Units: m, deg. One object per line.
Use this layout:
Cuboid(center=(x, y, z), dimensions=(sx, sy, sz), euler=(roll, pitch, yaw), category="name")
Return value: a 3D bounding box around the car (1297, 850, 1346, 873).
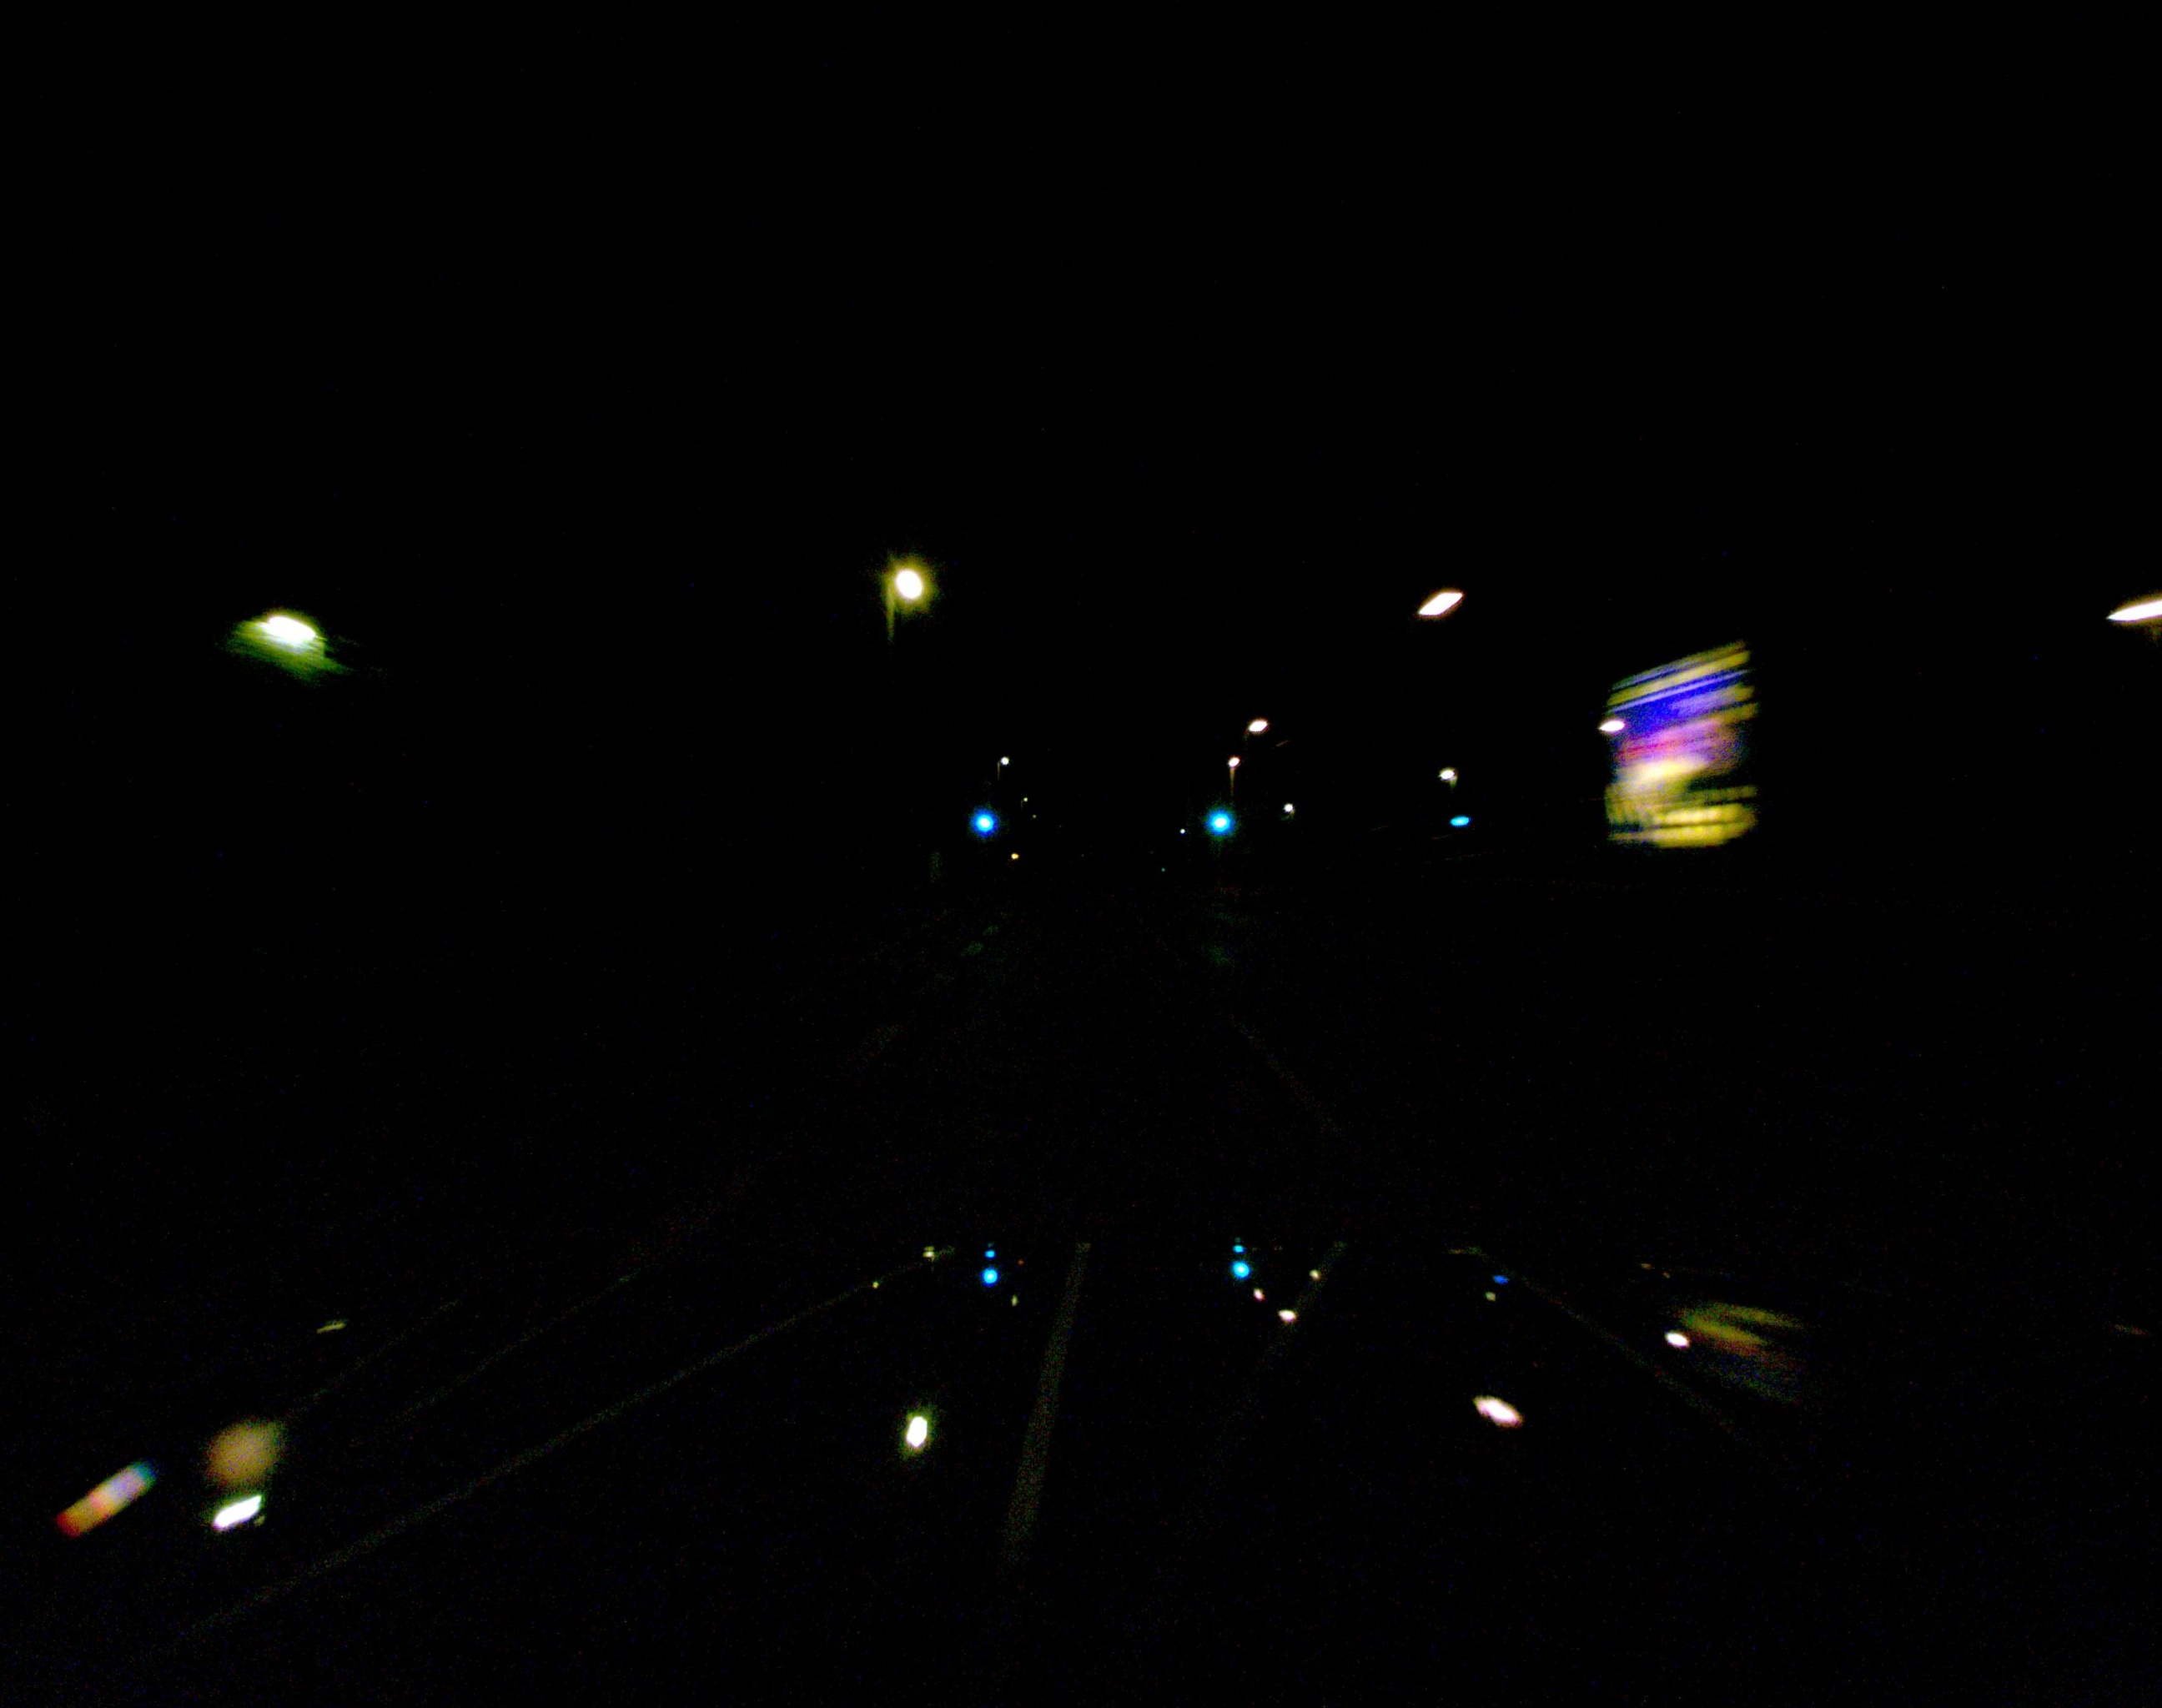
Cuboid(center=(16.300, 0.483, 51.723), dimensions=(1.871, 1.496, 4.093), euler=(1, 1, -3), category="car")
